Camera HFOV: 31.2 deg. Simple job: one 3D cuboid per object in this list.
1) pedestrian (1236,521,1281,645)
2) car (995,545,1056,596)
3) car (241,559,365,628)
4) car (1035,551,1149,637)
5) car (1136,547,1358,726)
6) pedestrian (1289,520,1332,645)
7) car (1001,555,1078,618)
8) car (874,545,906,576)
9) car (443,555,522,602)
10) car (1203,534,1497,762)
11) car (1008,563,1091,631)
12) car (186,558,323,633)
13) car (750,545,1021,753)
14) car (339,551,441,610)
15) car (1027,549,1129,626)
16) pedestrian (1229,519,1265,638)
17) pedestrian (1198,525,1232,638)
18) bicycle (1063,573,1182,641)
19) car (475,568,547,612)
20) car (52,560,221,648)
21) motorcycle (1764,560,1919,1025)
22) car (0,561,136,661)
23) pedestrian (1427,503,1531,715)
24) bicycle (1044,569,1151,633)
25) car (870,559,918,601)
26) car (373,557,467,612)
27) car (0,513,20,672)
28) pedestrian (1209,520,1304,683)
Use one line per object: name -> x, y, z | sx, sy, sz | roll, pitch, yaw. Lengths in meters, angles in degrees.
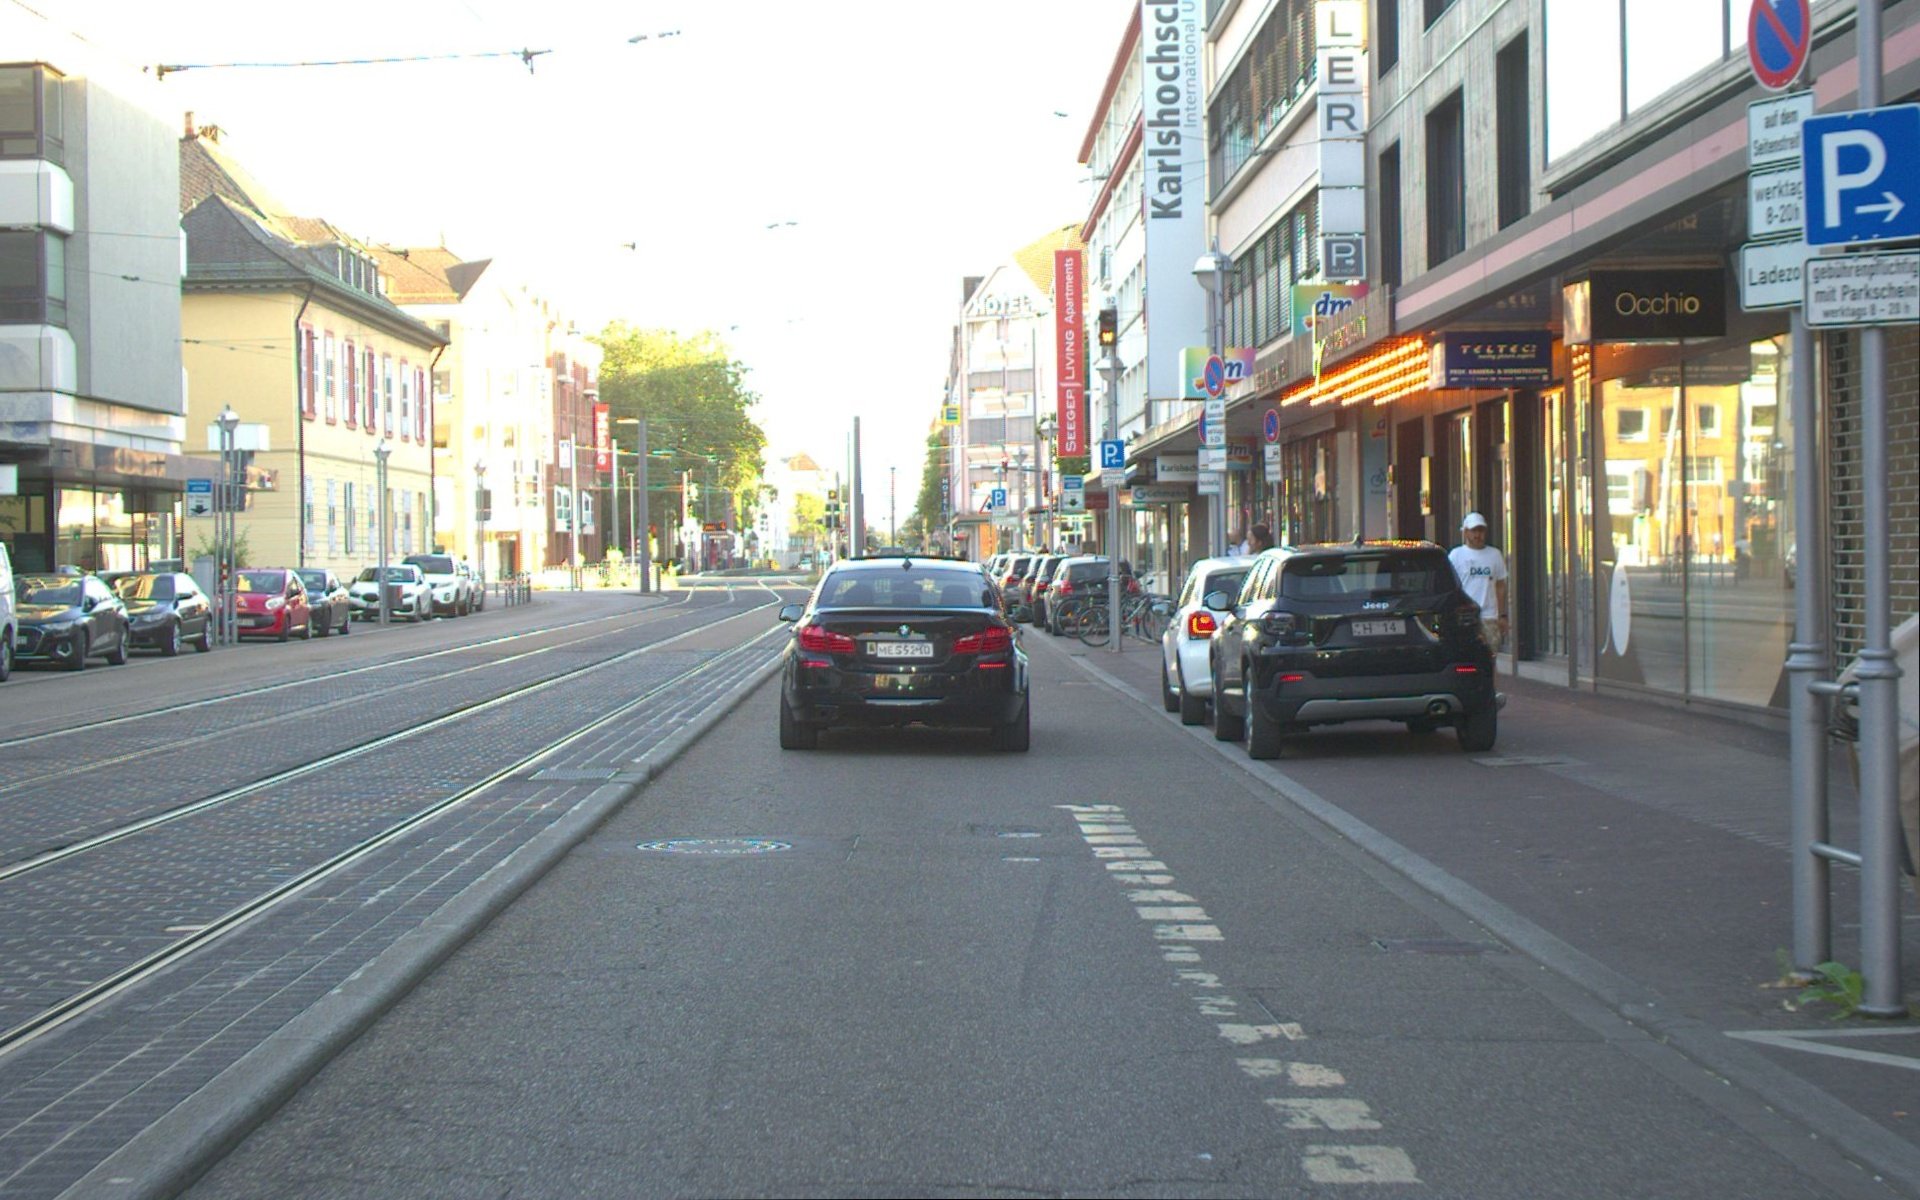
pedestrian -> 4.357, -0.257, 50.237 | 0.554, 1.785, 0.760 | -1, 1, -1
car -> 2.031, -0.905, 107.140 | 1.774, 1.543, 3.503 | 0, 0, -1
car -> -14.197, -0.167, 74.486 | 1.928, 1.430, 4.246 | 0, 1, -1
car -> 2.428, -0.112, 63.889 | 1.903, 1.543, 4.000 | 0, 0, -1
car -> 2.529, 0.277, 30.994 | 1.559, 1.437, 3.709 | -3, 1, -1
pedestrian -> 5.087, -0.260, 49.937 | 0.508, 1.786, 0.760 | -1, 1, 0
car -> 1.953, -0.331, 85.551 | 1.774, 1.543, 3.503 | 0, 0, -1
car -> -4.482, -2.509, 219.933 | 1.993, 1.832, 4.000 | 0, -2, -1
car -> -15.006, -0.702, 108.208 | 1.928, 1.430, 4.246 | 0, 1, -1
car -> 2.854, 0.300, 25.858 | 1.654, 1.532, 3.886 | -2, 1, -1
car -> 2.063, -0.069, 79.982 | 1.774, 1.543, 3.503 | 0, 0, -1
car -> -14.181, -0.113, 69.345 | 1.928, 1.430, 4.246 | 0, 1, -1
car -> -0.513, 0.337, 27.131 | 1.953, 1.493, 4.465 | 0, 0, 1
car -> -14.549, -0.521, 87.953 | 1.928, 1.430, 4.246 | -1, 1, -1
car -> 2.402, -0.239, 70.794 | 1.903, 1.543, 3.780 | 0, 0, -1
pedestrian -> 4.362, -0.334, 52.263 | 0.488, 1.784, 0.760 | -1, 1, 3
pedestrian -> 3.878, -0.284, 52.290 | 0.475, 1.693, 0.752 | -1, 1, 3
bicycle -> 2.589, 0.109, 54.837 | 1.861, 1.076, 0.468 | 0, -1, 1
car -> -15.270, -0.362, 117.117 | 1.928, 1.430, 4.246 | 0, 1, -1
car -> -14.178, 0.039, 59.396 | 1.928, 1.430, 4.246 | 0, 1, -1
motorcycle -> 3.354, 0.582, 11.240 | 0.844, 1.414, 2.165 | -3, 1, -1
car -> -14.031, 0.137, 52.488 | 1.928, 1.430, 4.246 | 0, 1, -1
pedestrian -> 4.378, 0.067, 29.030 | 0.689, 1.734, 0.820 | -2, 1, 1
bicycle -> 2.422, 0.020, 60.580 | 1.861, 1.115, 0.468 | 0, -1, 1
car -> -2.471, -0.754, 129.150 | 1.774, 1.543, 3.503 | 0, 0, -1
car -> -14.706, -0.434, 93.762 | 1.928, 1.430, 4.246 | 0, 1, -1
car -> -13.886, -0.075, 45.080 | 1.993, 2.149, 4.911 | -1, 1, -3
pedestrian -> 3.020, 0.013, 35.046 | 0.557, 1.641, 0.759 | -2, 1, -42
